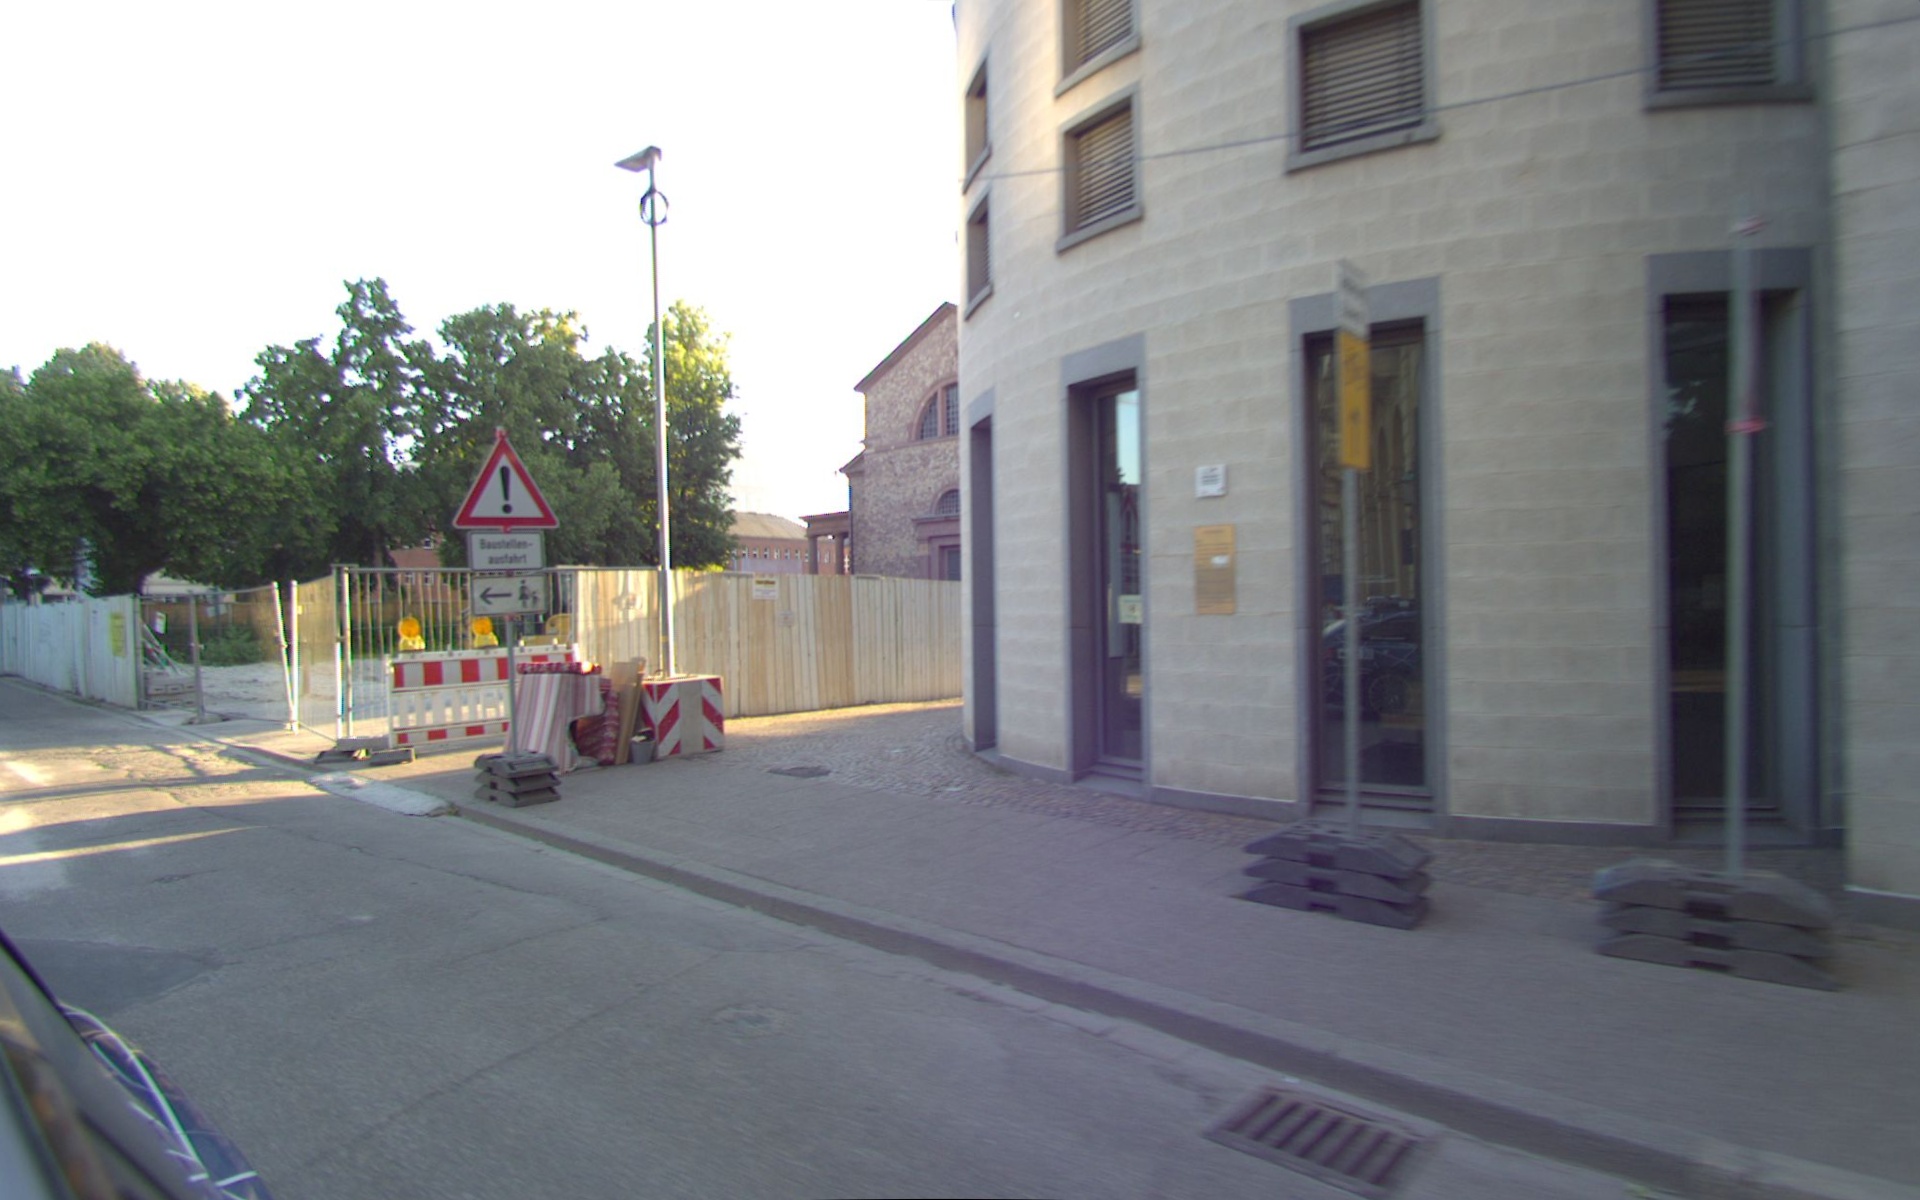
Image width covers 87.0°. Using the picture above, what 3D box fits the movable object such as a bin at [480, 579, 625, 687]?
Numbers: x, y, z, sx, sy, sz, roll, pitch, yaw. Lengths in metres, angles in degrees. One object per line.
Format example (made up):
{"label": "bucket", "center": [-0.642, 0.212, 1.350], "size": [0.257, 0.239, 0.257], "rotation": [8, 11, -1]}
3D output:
{"label": "movable object such as a bin", "center": [-10.433, 0.825, 26.016], "size": [2.726, 2.623, 2.145], "rotation": [-1, -1, 19]}
